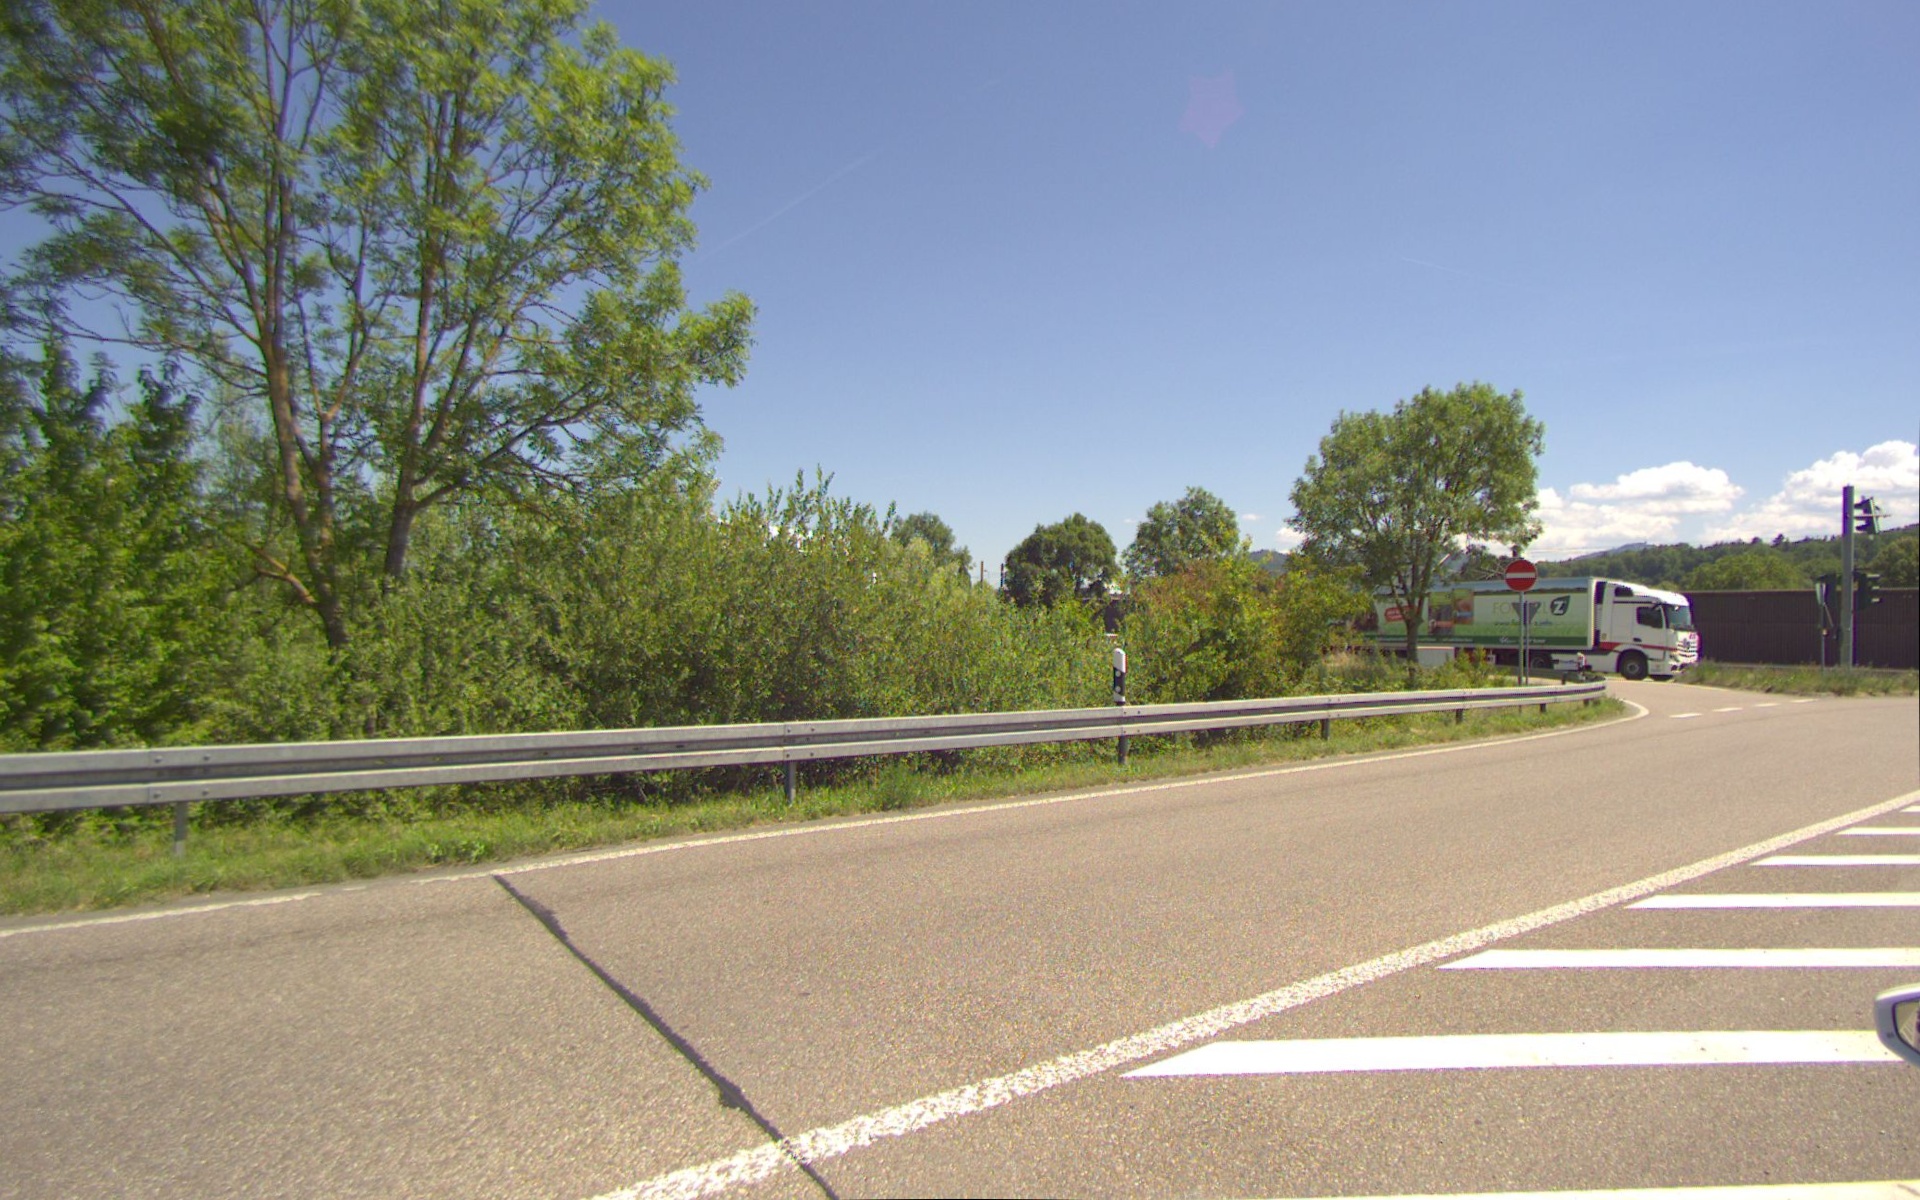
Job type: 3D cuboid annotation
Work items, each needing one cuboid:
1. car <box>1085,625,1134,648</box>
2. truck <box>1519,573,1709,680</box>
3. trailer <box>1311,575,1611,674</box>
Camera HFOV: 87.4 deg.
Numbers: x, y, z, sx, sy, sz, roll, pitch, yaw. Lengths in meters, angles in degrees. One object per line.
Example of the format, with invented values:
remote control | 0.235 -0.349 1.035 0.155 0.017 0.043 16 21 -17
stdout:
car | 10.360 2.515 69.683 1.537 1.484 3.455 2 -1 -31
truck | 26.514 1.043 40.963 3.027 4.007 5.736 2 -1 -31
trailer | 22.819 1.047 47.197 3.027 4.007 13.074 2 -1 -31
